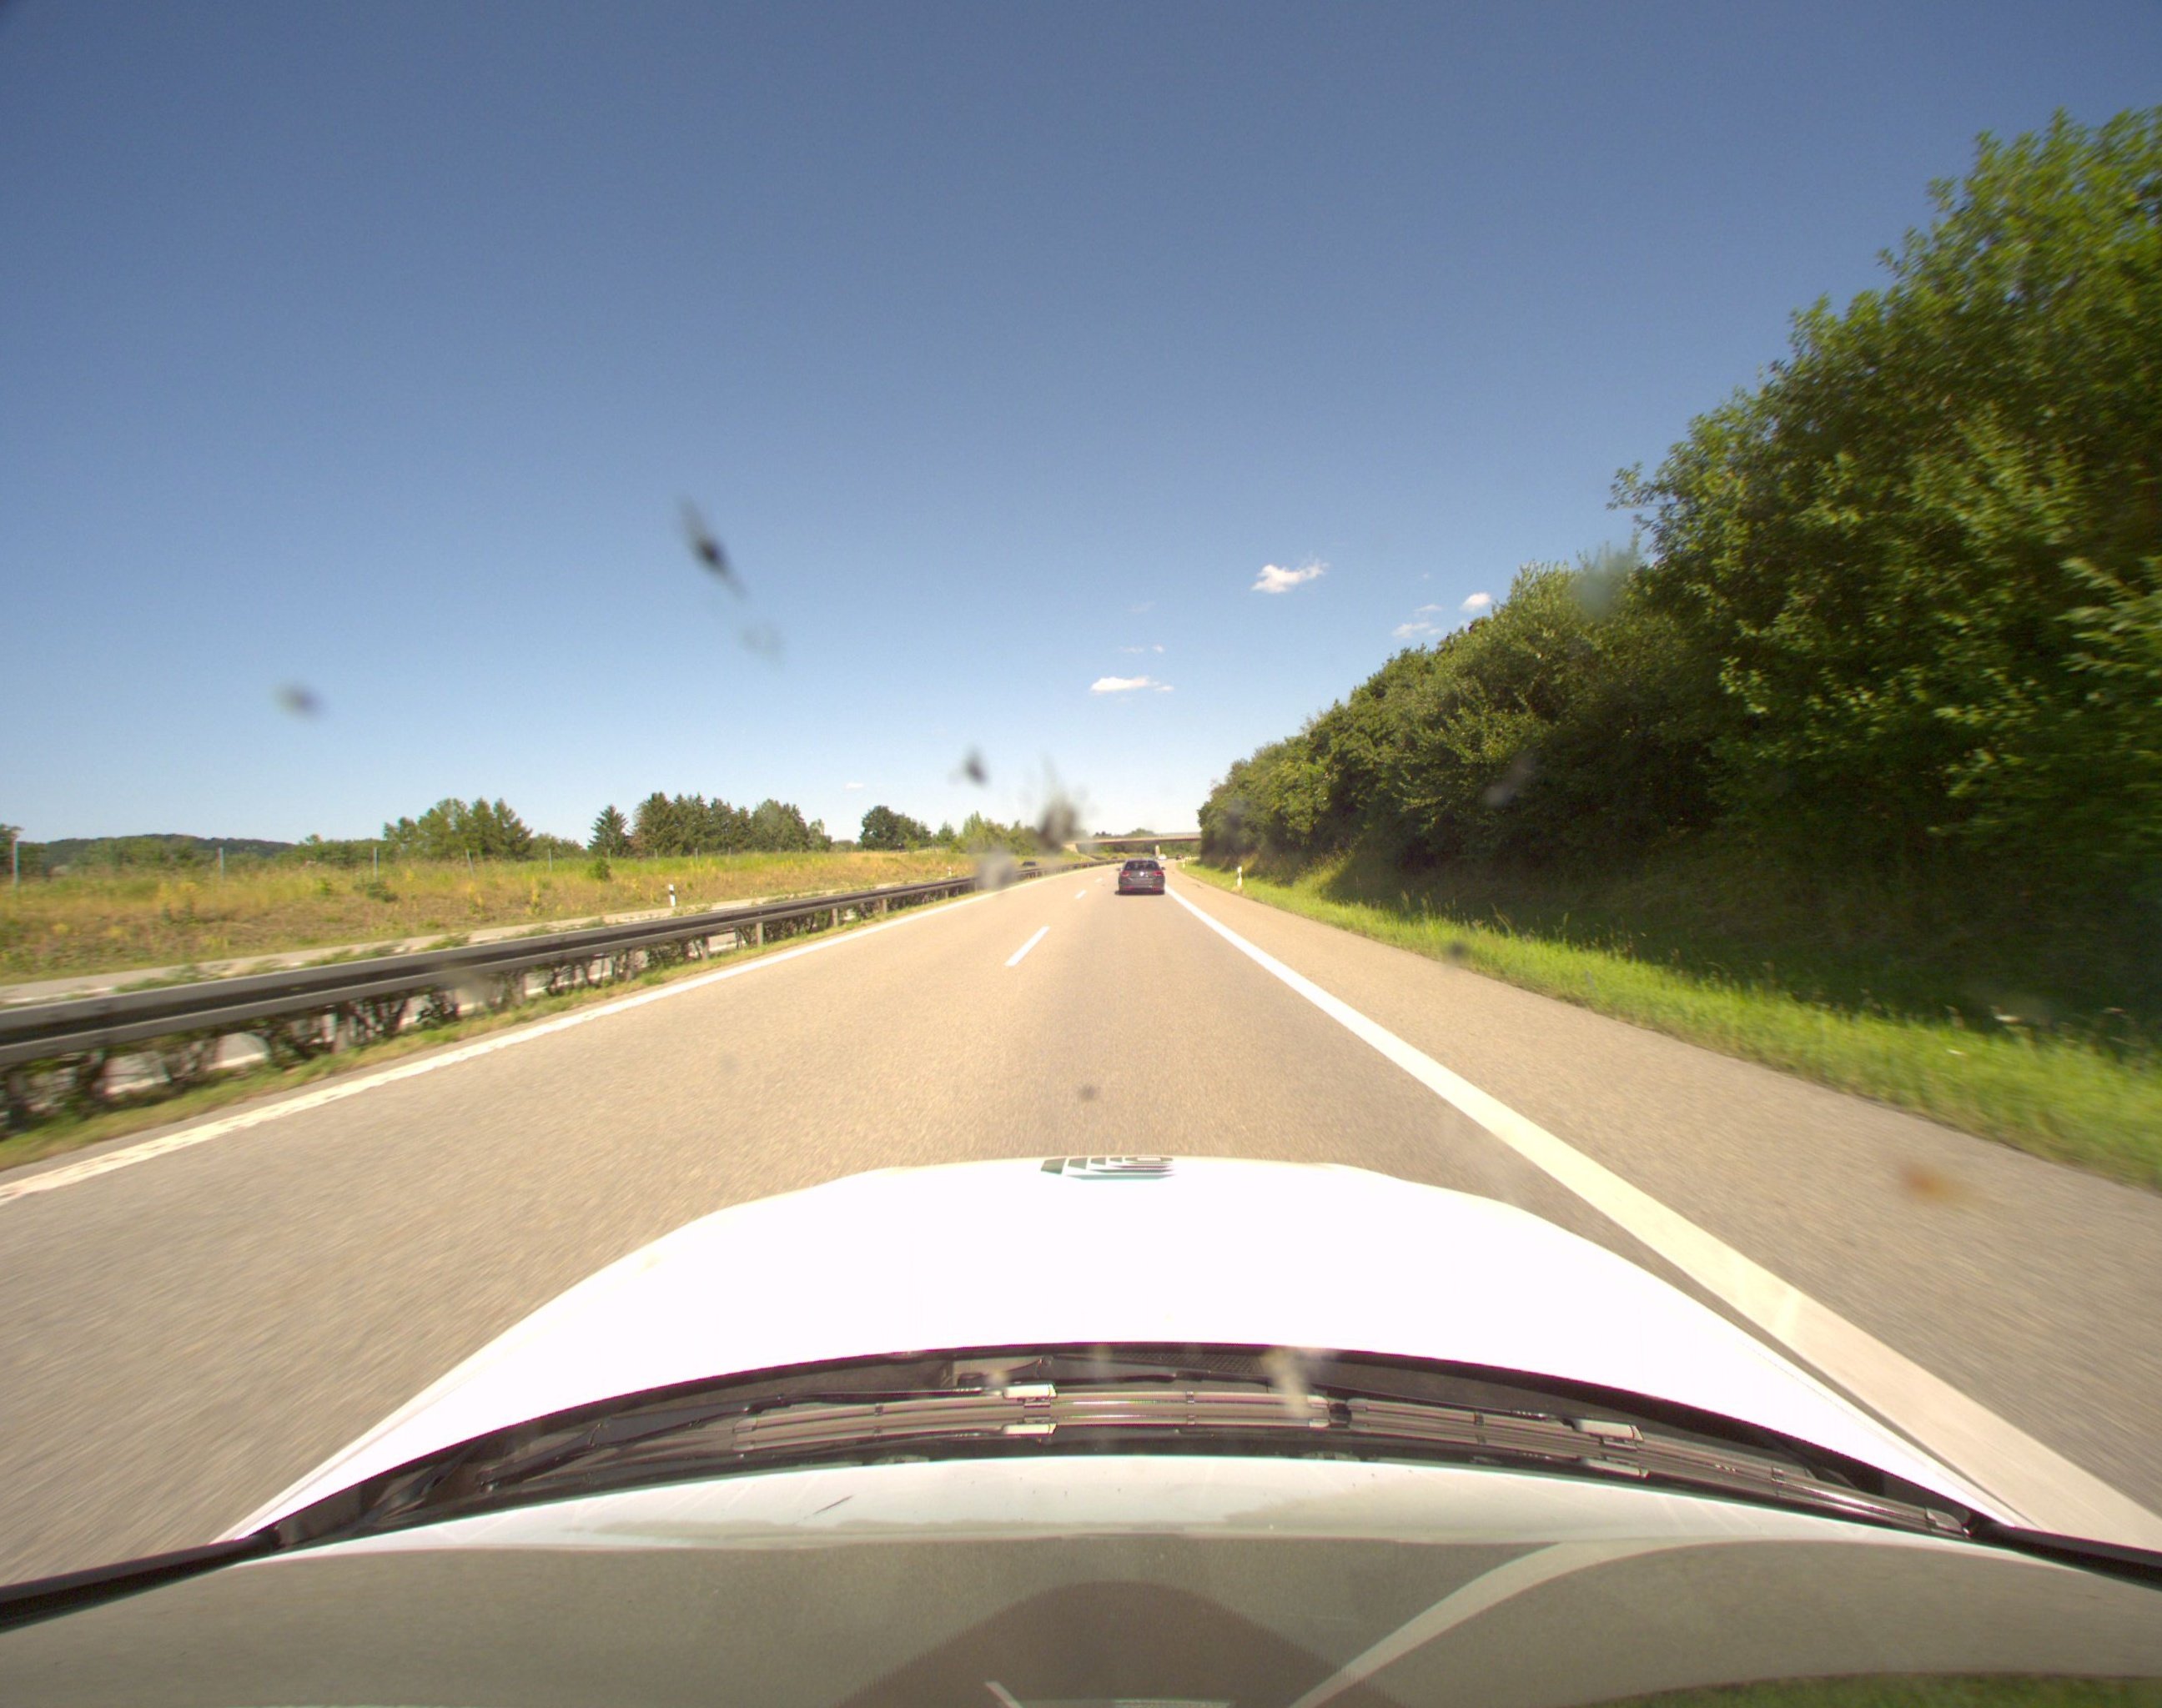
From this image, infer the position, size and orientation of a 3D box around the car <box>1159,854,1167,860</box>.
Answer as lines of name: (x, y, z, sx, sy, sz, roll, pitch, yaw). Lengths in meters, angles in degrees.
car: (20.664, 0.703, 205.328, 1.997, 1.345, 4.005, 0, -2, 5)

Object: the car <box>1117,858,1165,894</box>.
car: (2.416, 0.827, 32.349, 1.782, 1.344, 4.006, 0, 0, 5)

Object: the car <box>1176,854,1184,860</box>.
car: (25.490, 0.766, 209.704, 1.703, 1.387, 3.358, 0, -2, 4)
